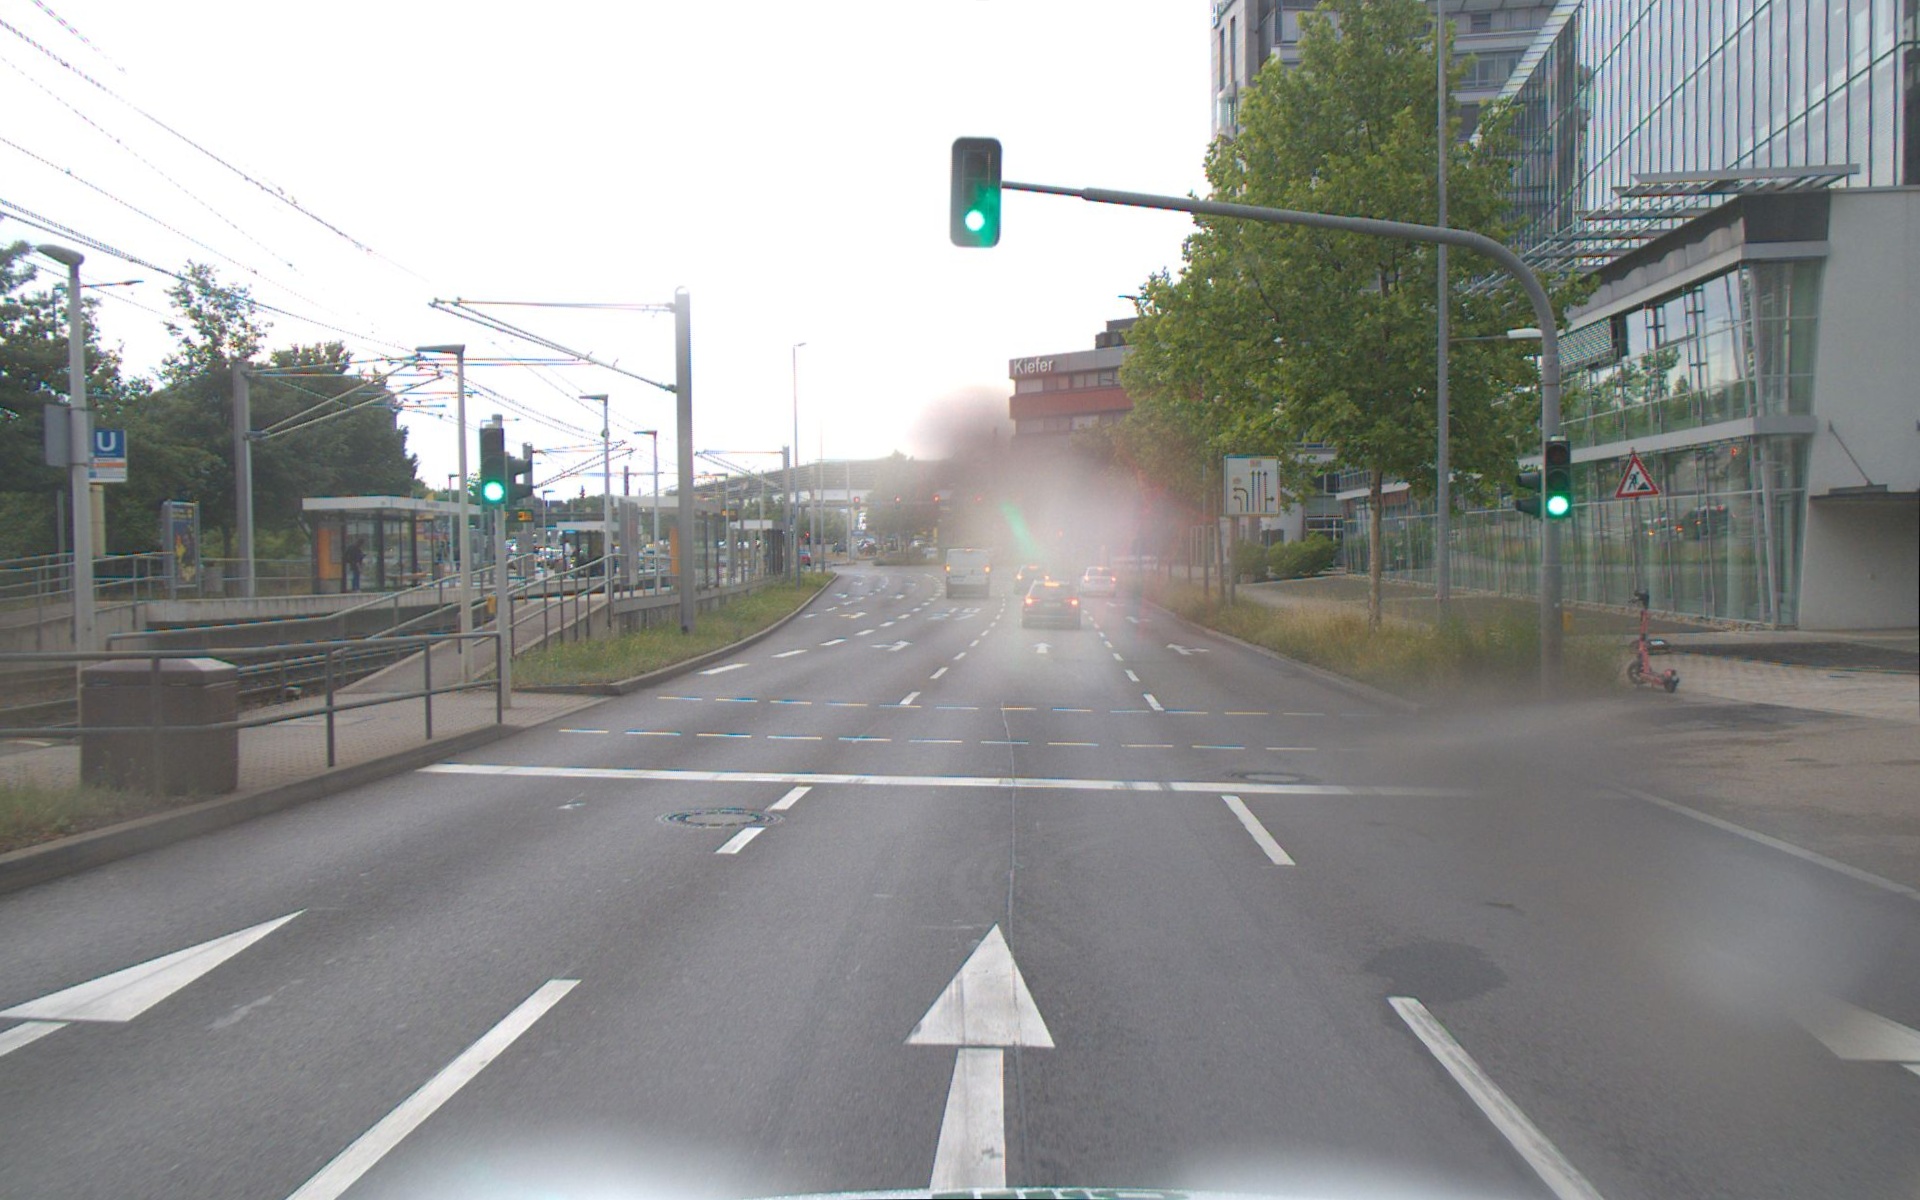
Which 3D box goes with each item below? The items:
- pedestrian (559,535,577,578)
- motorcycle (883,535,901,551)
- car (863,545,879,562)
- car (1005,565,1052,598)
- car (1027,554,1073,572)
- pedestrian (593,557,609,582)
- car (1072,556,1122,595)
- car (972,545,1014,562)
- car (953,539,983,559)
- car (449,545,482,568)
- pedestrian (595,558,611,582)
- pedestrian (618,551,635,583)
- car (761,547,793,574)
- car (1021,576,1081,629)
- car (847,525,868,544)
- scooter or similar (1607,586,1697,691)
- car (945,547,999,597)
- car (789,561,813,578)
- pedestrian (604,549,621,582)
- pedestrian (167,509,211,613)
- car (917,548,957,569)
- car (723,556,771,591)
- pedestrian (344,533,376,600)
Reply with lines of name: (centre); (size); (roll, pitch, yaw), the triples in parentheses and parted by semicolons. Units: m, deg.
pedestrian: (-19.331, -2.130, 81.557); (0.674, 2.116, 0.715); (0, 1, 3)
motorcycle: (-9.786, -8.172, 238.452); (1.958, 2.049, 3.987); (1, -2, -12)
car: (-11.578, -6.066, 214.656); (1.783, 2.049, 3.465); (0, -2, -7)
car: (3.456, -0.943, 84.221); (1.981, 1.651, 3.998); (1, 1, -3)
car: (8.557, -3.555, 157.203); (2.011, 1.651, 4.259); (0, 1, -42)
pedestrian: (-19.087, -1.628, 87.938); (0.712, 1.275, 0.731); (0, 0, -4)
car: (6.723, -1.234, 81.416); (1.980, 1.800, 4.000); (0, 2, -2)
car: (3.221, -4.559, 161.955); (2.011, 1.651, 3.939); (0, 1, -42)
car: (0.977, -5.944, 193.947); (1.969, 2.049, 3.966); (1, -2, -26)
car: (-47.224, -4.140, 157.900); (1.975, 2.049, 3.954); (2, -2, -33)
pedestrian: (-19.148, -1.602, 88.699); (0.712, 1.275, 0.731); (0, 0, -4)
pedestrian: (-18.772, -1.870, 93.111); (0.737, 1.782, 0.763); (0, -2, -1)
car: (-13.443, -2.917, 121.902); (1.954, 1.840, 3.846); (3, 1, -2)
car: (2.829, 0.042, 50.596); (1.727, 1.489, 4.629); (1, 1, 4)
car: (-12.317, -7.844, 198.838); (1.959, 2.049, 3.987); (0, -2, -13)
scooter or similar: (8.896, 0.476, 21.301); (0.448, 1.285, 1.336); (-3, 0, -5)
car: (0.535, -1.320, 77.629); (2.460, 2.215, 5.149); (0, 1, 0)
car: (-15.799, -3.075, 164.495); (1.985, 1.651, 3.990); (0, 1, -11)
pedestrian: (-18.300, -1.824, 87.112); (0.714, 1.745, 0.831); (0, 0, -1)
pedestrian: (-15.060, -0.757, 32.313); (0.538, 1.987, 0.663); (1, -2, -6)
car: (-2.396, -4.255, 170.870); (1.983, 2.049, 3.939); (2, 0, -42)
car: (-10.436, -1.312, 81.180); (1.953, 1.477, 3.848); (1, 4, -2)
pedestrian: (-17.190, -0.956, 47.374); (0.624, 1.887, 0.750); (1, -2, -3)
